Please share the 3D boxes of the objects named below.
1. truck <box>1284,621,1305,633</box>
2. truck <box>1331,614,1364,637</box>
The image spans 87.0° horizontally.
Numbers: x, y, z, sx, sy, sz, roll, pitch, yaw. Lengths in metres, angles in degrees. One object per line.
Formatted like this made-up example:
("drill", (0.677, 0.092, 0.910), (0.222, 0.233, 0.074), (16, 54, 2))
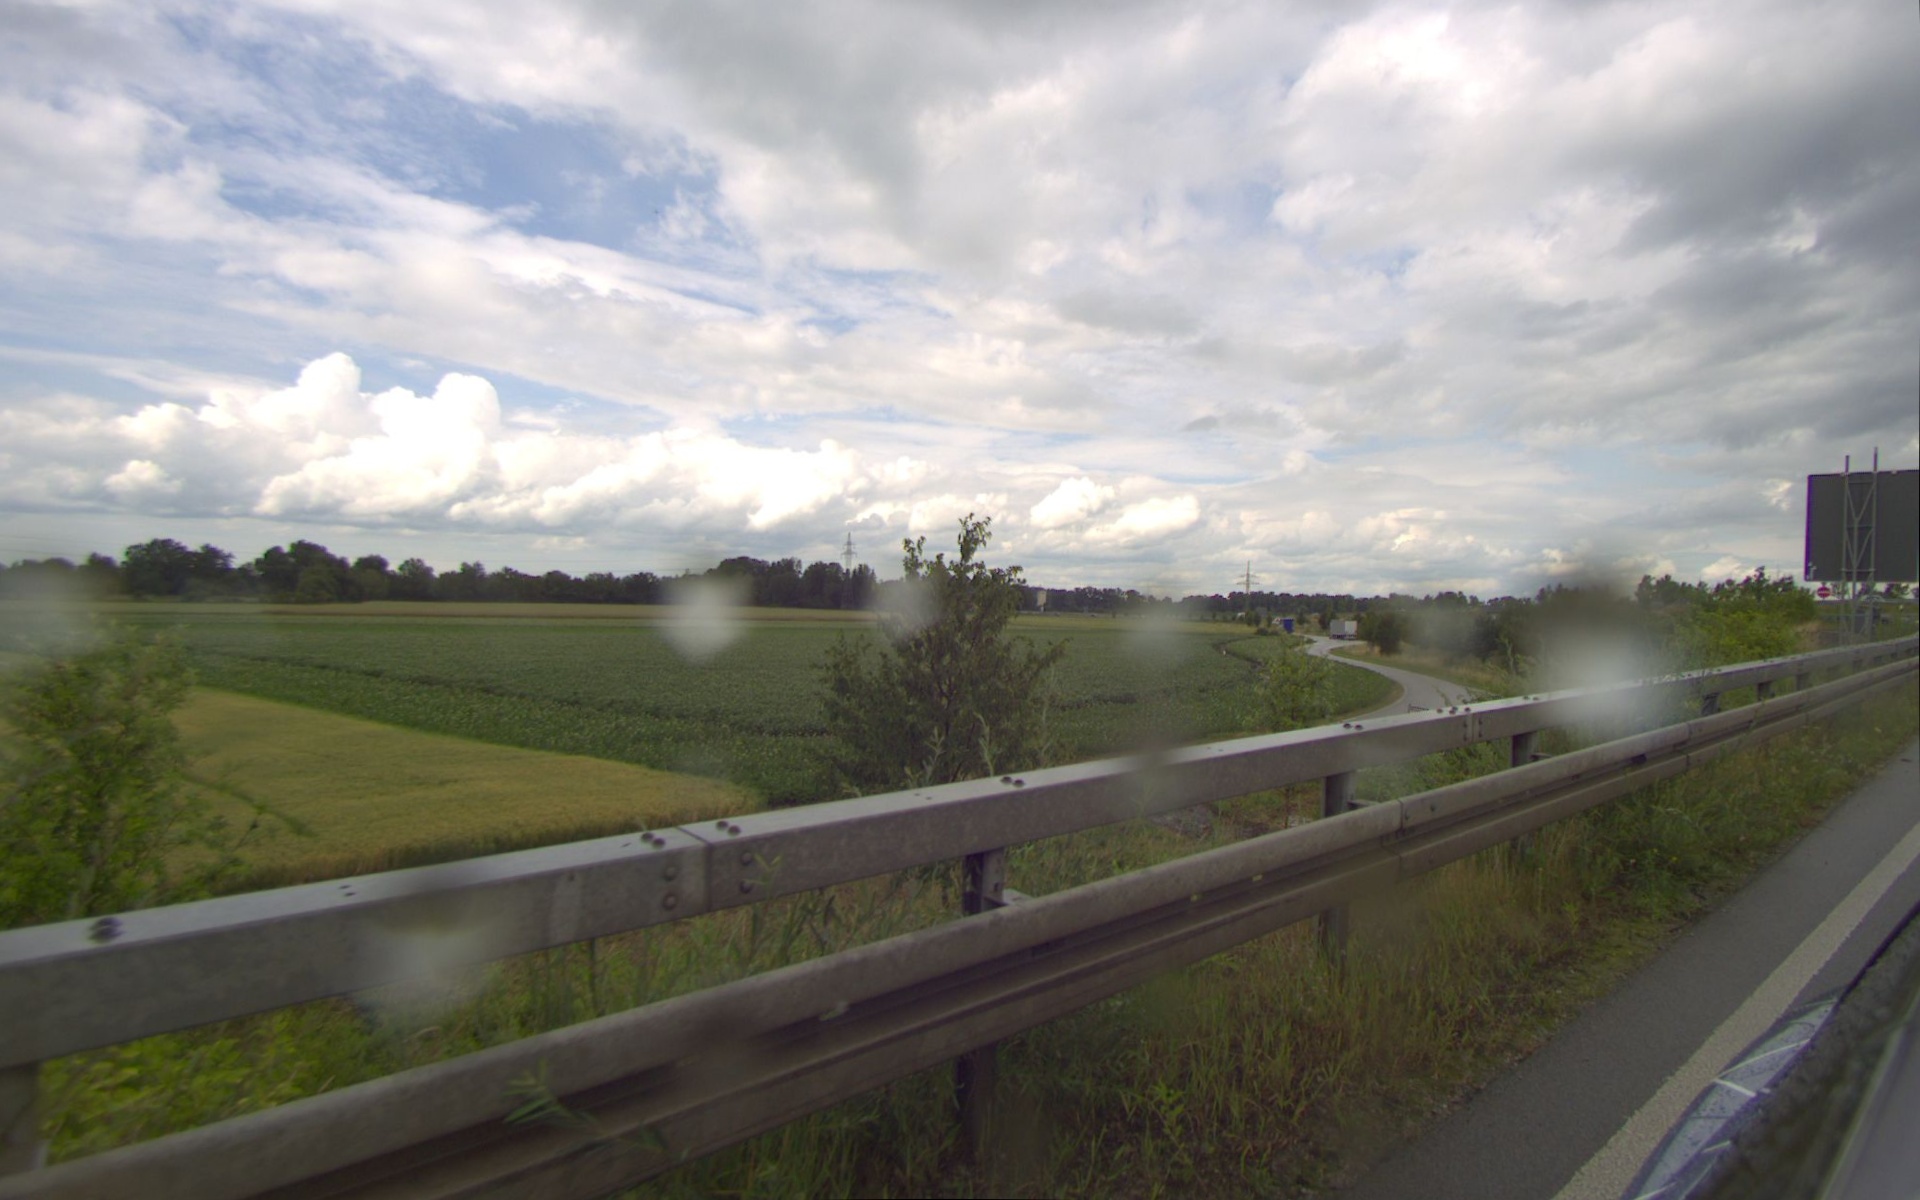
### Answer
("truck", (77.471, 6.261, 234.665), (2.577, 2.779, 6.931), (-1, -2, 1))
("truck", (80.347, 5.165, 210.158), (3.199, 4.392, 11.673), (-1, 0, 5))
